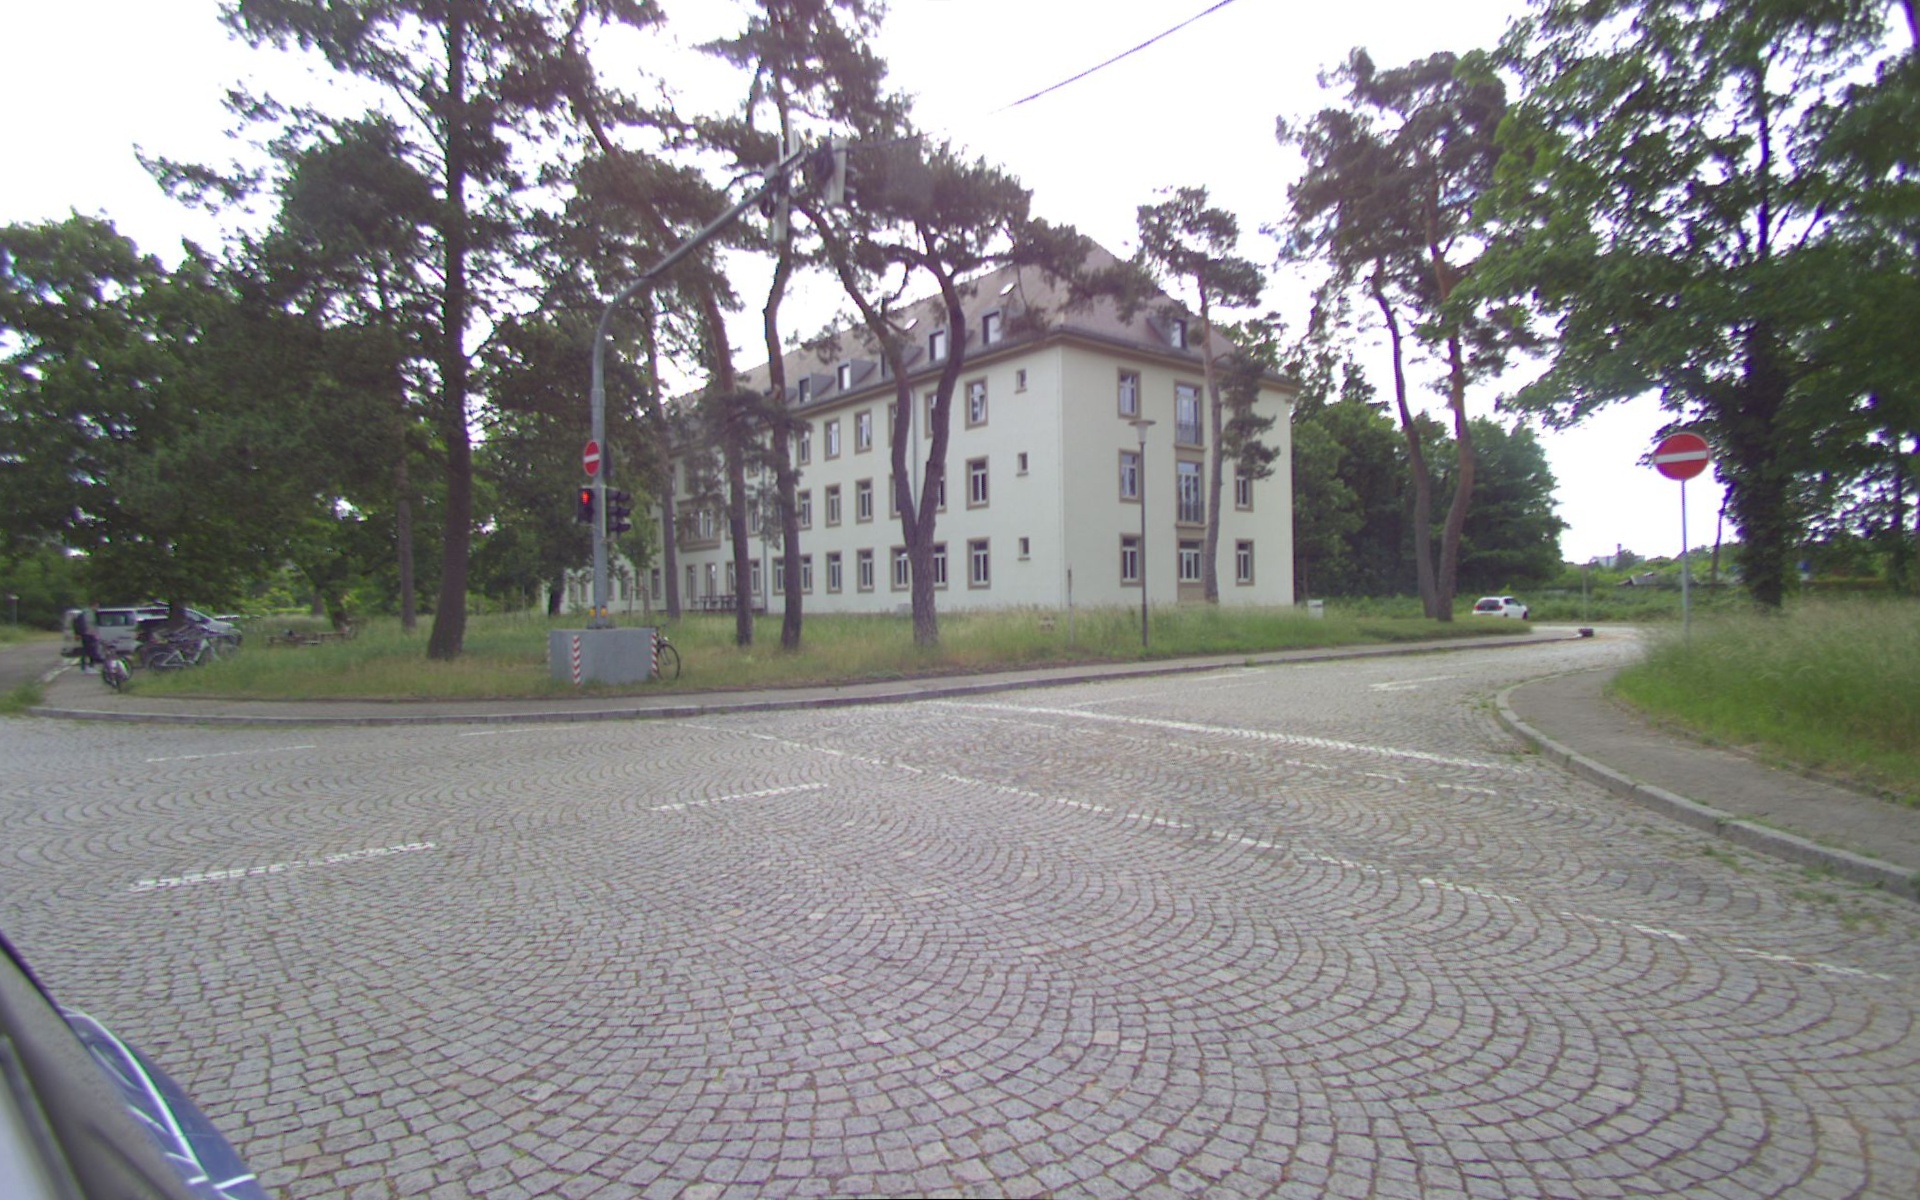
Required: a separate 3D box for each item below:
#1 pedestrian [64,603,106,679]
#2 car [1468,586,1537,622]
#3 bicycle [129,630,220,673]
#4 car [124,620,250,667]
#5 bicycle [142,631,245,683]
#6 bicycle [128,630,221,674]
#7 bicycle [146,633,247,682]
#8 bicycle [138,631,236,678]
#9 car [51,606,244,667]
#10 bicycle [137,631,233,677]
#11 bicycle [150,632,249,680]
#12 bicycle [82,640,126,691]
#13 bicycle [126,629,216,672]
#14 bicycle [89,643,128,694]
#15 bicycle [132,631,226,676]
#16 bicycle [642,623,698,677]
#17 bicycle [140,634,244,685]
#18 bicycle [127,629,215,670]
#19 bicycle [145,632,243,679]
[{"bbox_3d":[-22.996,1.055,26.607,0.781,1.952,0.589,-1,-1,-39],"label":"pedestrian"},{"bbox_3d":[29.051,0.192,54.139,3.935,1.820,1.726,-1,0,-37],"label":"car"},{"bbox_3d":[-21.409,1.380,27.593,1.922,1.073,0.563,-1,-1,-42],"label":"bicycle"},{"bbox_3d":[-26.960,1.473,35.326,3.389,1.460,1.916,-1,0,-41],"label":"car"},{"bbox_3d":[-18.198,1.342,24.057,1.922,1.119,0.563,-1,-1,-42],"label":"bicycle"},{"bbox_3d":[-20.953,1.377,27.026,1.922,1.073,0.563,-1,-1,-42],"label":"bicycle"},{"bbox_3d":[-18.474,1.367,24.516,1.922,1.073,0.563,-1,-1,-42],"label":"bicycle"},{"bbox_3d":[-19.659,1.368,25.764,1.922,1.073,0.563,-1,-1,-42],"label":"bicycle"},{"bbox_3d":[-30.021,1.288,37.519,2.290,2.014,5.292,-2,0,42],"label":"car"},{"bbox_3d":[-20.022,1.370,26.166,1.922,1.073,0.563,-1,-1,-42],"label":"bicycle"},{"bbox_3d":[-18.824,1.368,25.069,1.922,1.073,0.563,-1,-1,-42],"label":"bicycle"},{"bbox_3d":[-18.052,1.359,21.362,0.452,0.981,1.667,-1,0,-31],"label":"bicycle"},{"bbox_3d":[-21.876,1.383,28.086,1.922,1.073,0.563,-1,-1,-42],"label":"bicycle"},{"bbox_3d":[-16.825,1.335,20.009,0.452,0.916,1.666,-1,0,-36],"label":"bicycle"},{"bbox_3d":[-20.449,1.373,26.522,1.922,1.073,0.563,-1,-1,-42],"label":"bicycle"},{"bbox_3d":[-5.122,0.884,17.846,1.049,0.923,0.290,-1,-1,29],"label":"bicycle"},{"bbox_3d":[-17.884,1.364,23.593,1.870,1.073,0.617,-1,-1,-42],"label":"bicycle"},{"bbox_3d":[-22.255,1.384,28.554,1.922,1.073,0.563,-1,-1,-42],"label":"bicycle"},{"bbox_3d":[-19.199,1.370,25.390,1.922,1.073,0.563,-1,-1,-42],"label":"bicycle"}]
